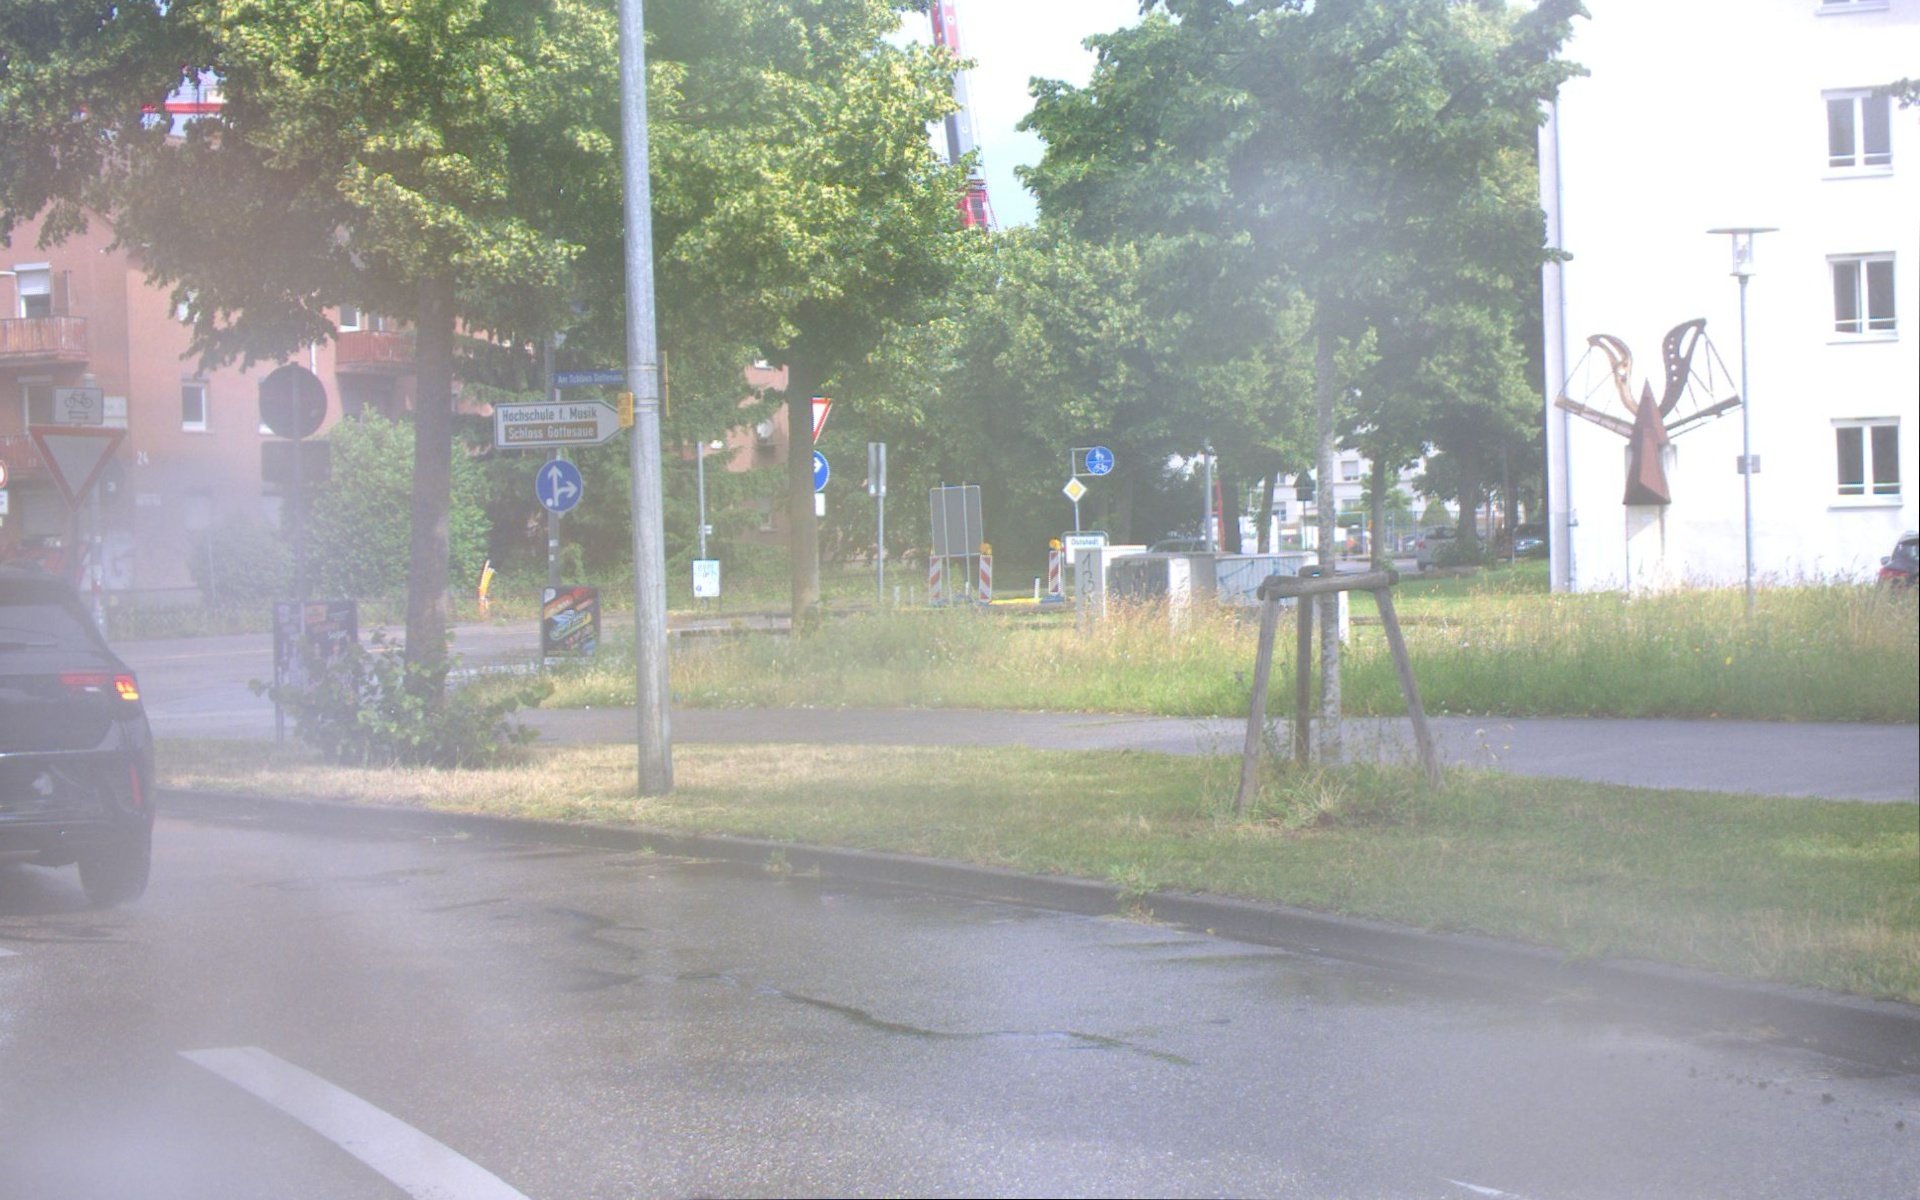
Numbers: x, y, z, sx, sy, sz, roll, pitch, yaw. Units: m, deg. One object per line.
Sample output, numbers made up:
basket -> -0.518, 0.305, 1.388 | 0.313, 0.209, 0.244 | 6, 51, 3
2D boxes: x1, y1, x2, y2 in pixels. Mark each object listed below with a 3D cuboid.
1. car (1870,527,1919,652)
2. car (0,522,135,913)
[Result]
car -> 12.638, -0.174, 43.881 | 1.672, 1.477, 3.736 | -1, 2, 19
car -> -5.081, 0.490, 16.058 | 1.897, 1.612, 4.001 | -2, 1, -20
